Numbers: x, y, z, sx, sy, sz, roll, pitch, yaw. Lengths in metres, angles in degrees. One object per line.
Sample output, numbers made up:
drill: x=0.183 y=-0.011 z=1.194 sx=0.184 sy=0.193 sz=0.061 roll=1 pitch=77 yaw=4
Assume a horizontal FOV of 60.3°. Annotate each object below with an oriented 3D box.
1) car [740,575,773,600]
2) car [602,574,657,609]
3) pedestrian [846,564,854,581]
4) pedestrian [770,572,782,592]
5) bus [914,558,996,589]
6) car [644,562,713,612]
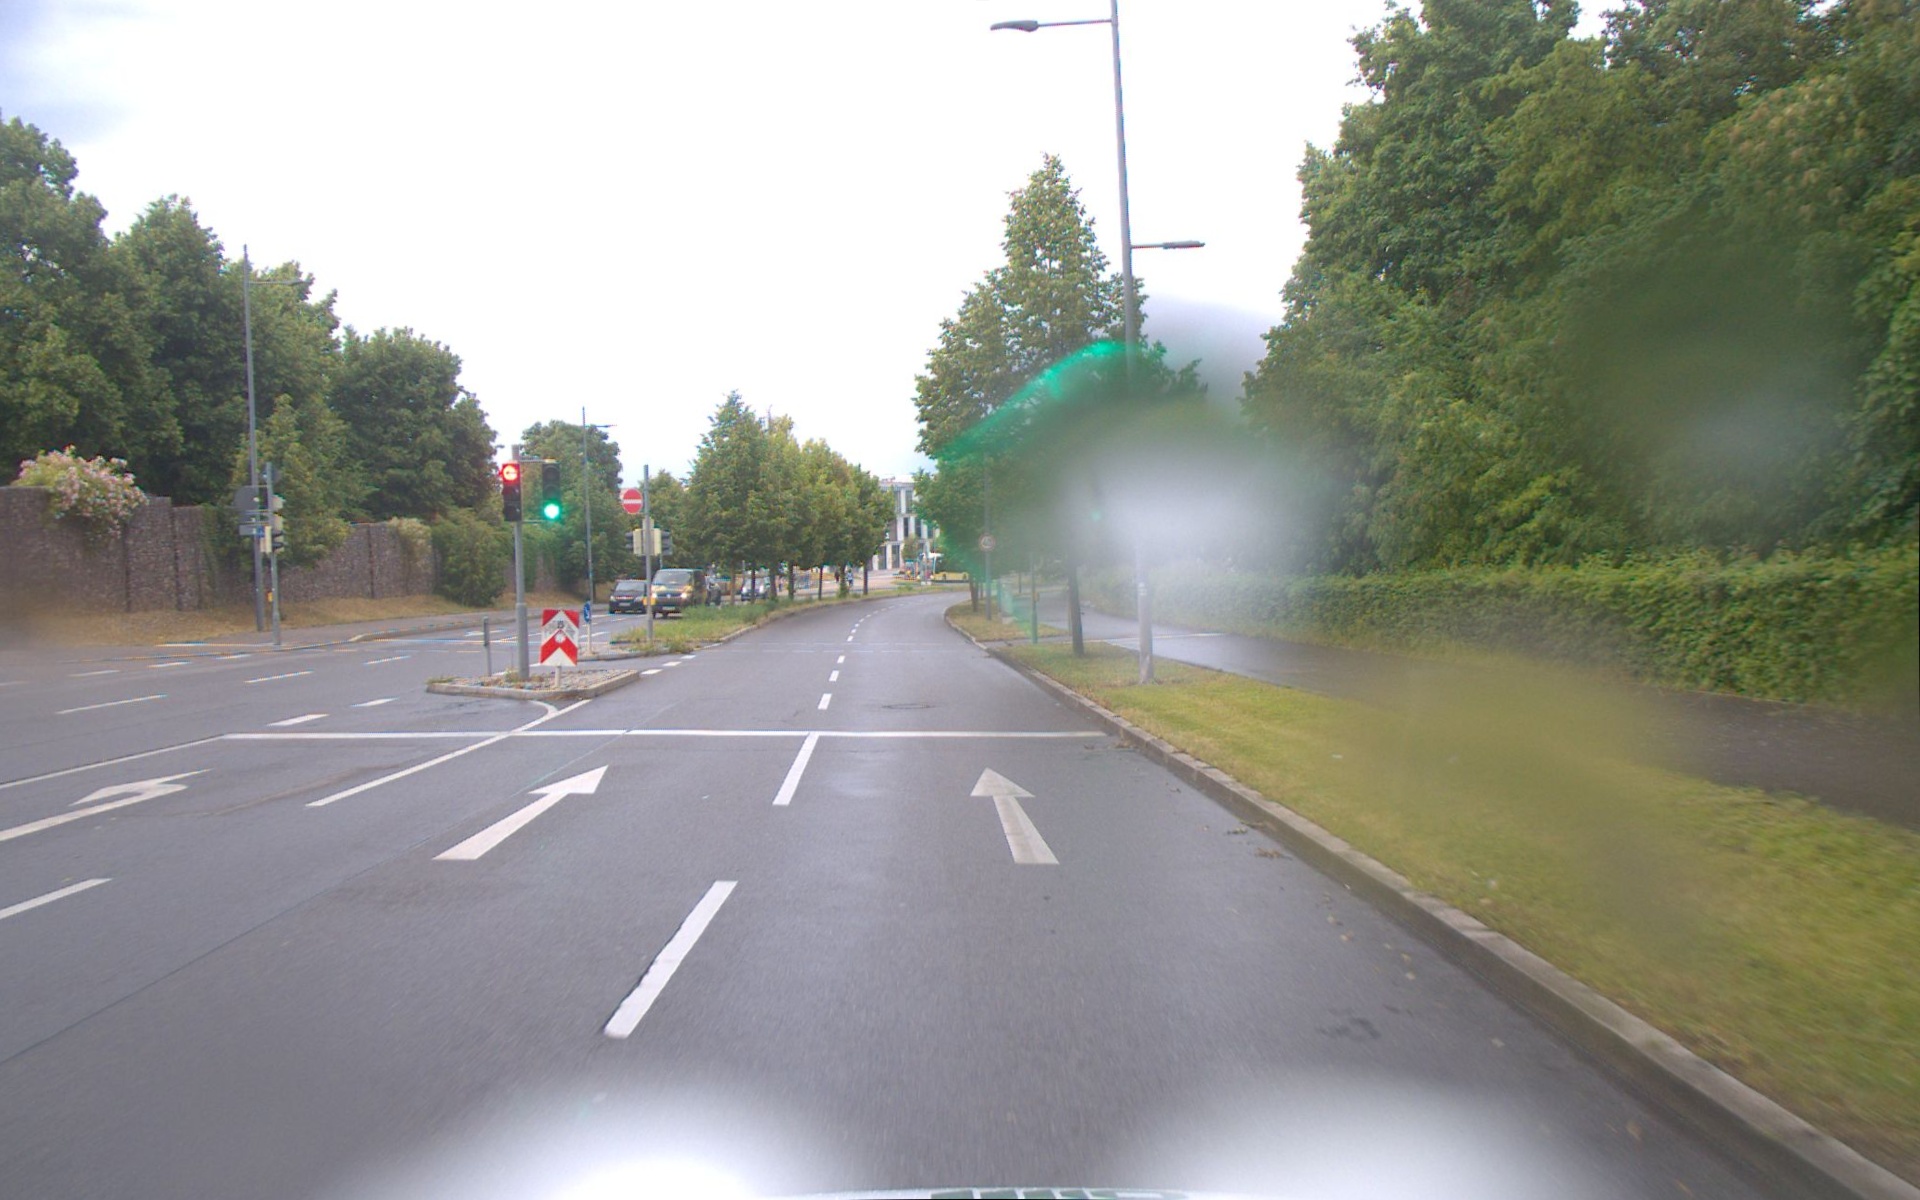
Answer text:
car: x=-13.389 y=-0.820 z=108.840 sx=1.651 sy=1.566 sz=2.917 roll=0 pitch=1 yaw=3
car: x=-14.819 y=-0.379 z=74.271 sx=1.565 sy=1.515 sz=4.001 roll=0 pitch=1 yaw=1
pedestrian: x=-10.525 y=-2.646 z=158.261 sx=0.818 sy=1.601 sz=0.718 roll=0 pitch=-1 yaw=-7
pedestrian: x=-15.605 y=-1.518 z=140.254 sx=0.796 sy=1.649 sz=0.936 roll=0 pitch=-1 yaw=10
bus: x=-0.448 y=-3.190 z=203.700 sx=2.729 sy=3.416 sz=18.215 roll=0 pitch=0 yaw=24
car: x=-11.495 y=-0.529 z=67.891 sx=1.972 sy=1.952 sz=5.095 roll=0 pitch=0 yaw=0
